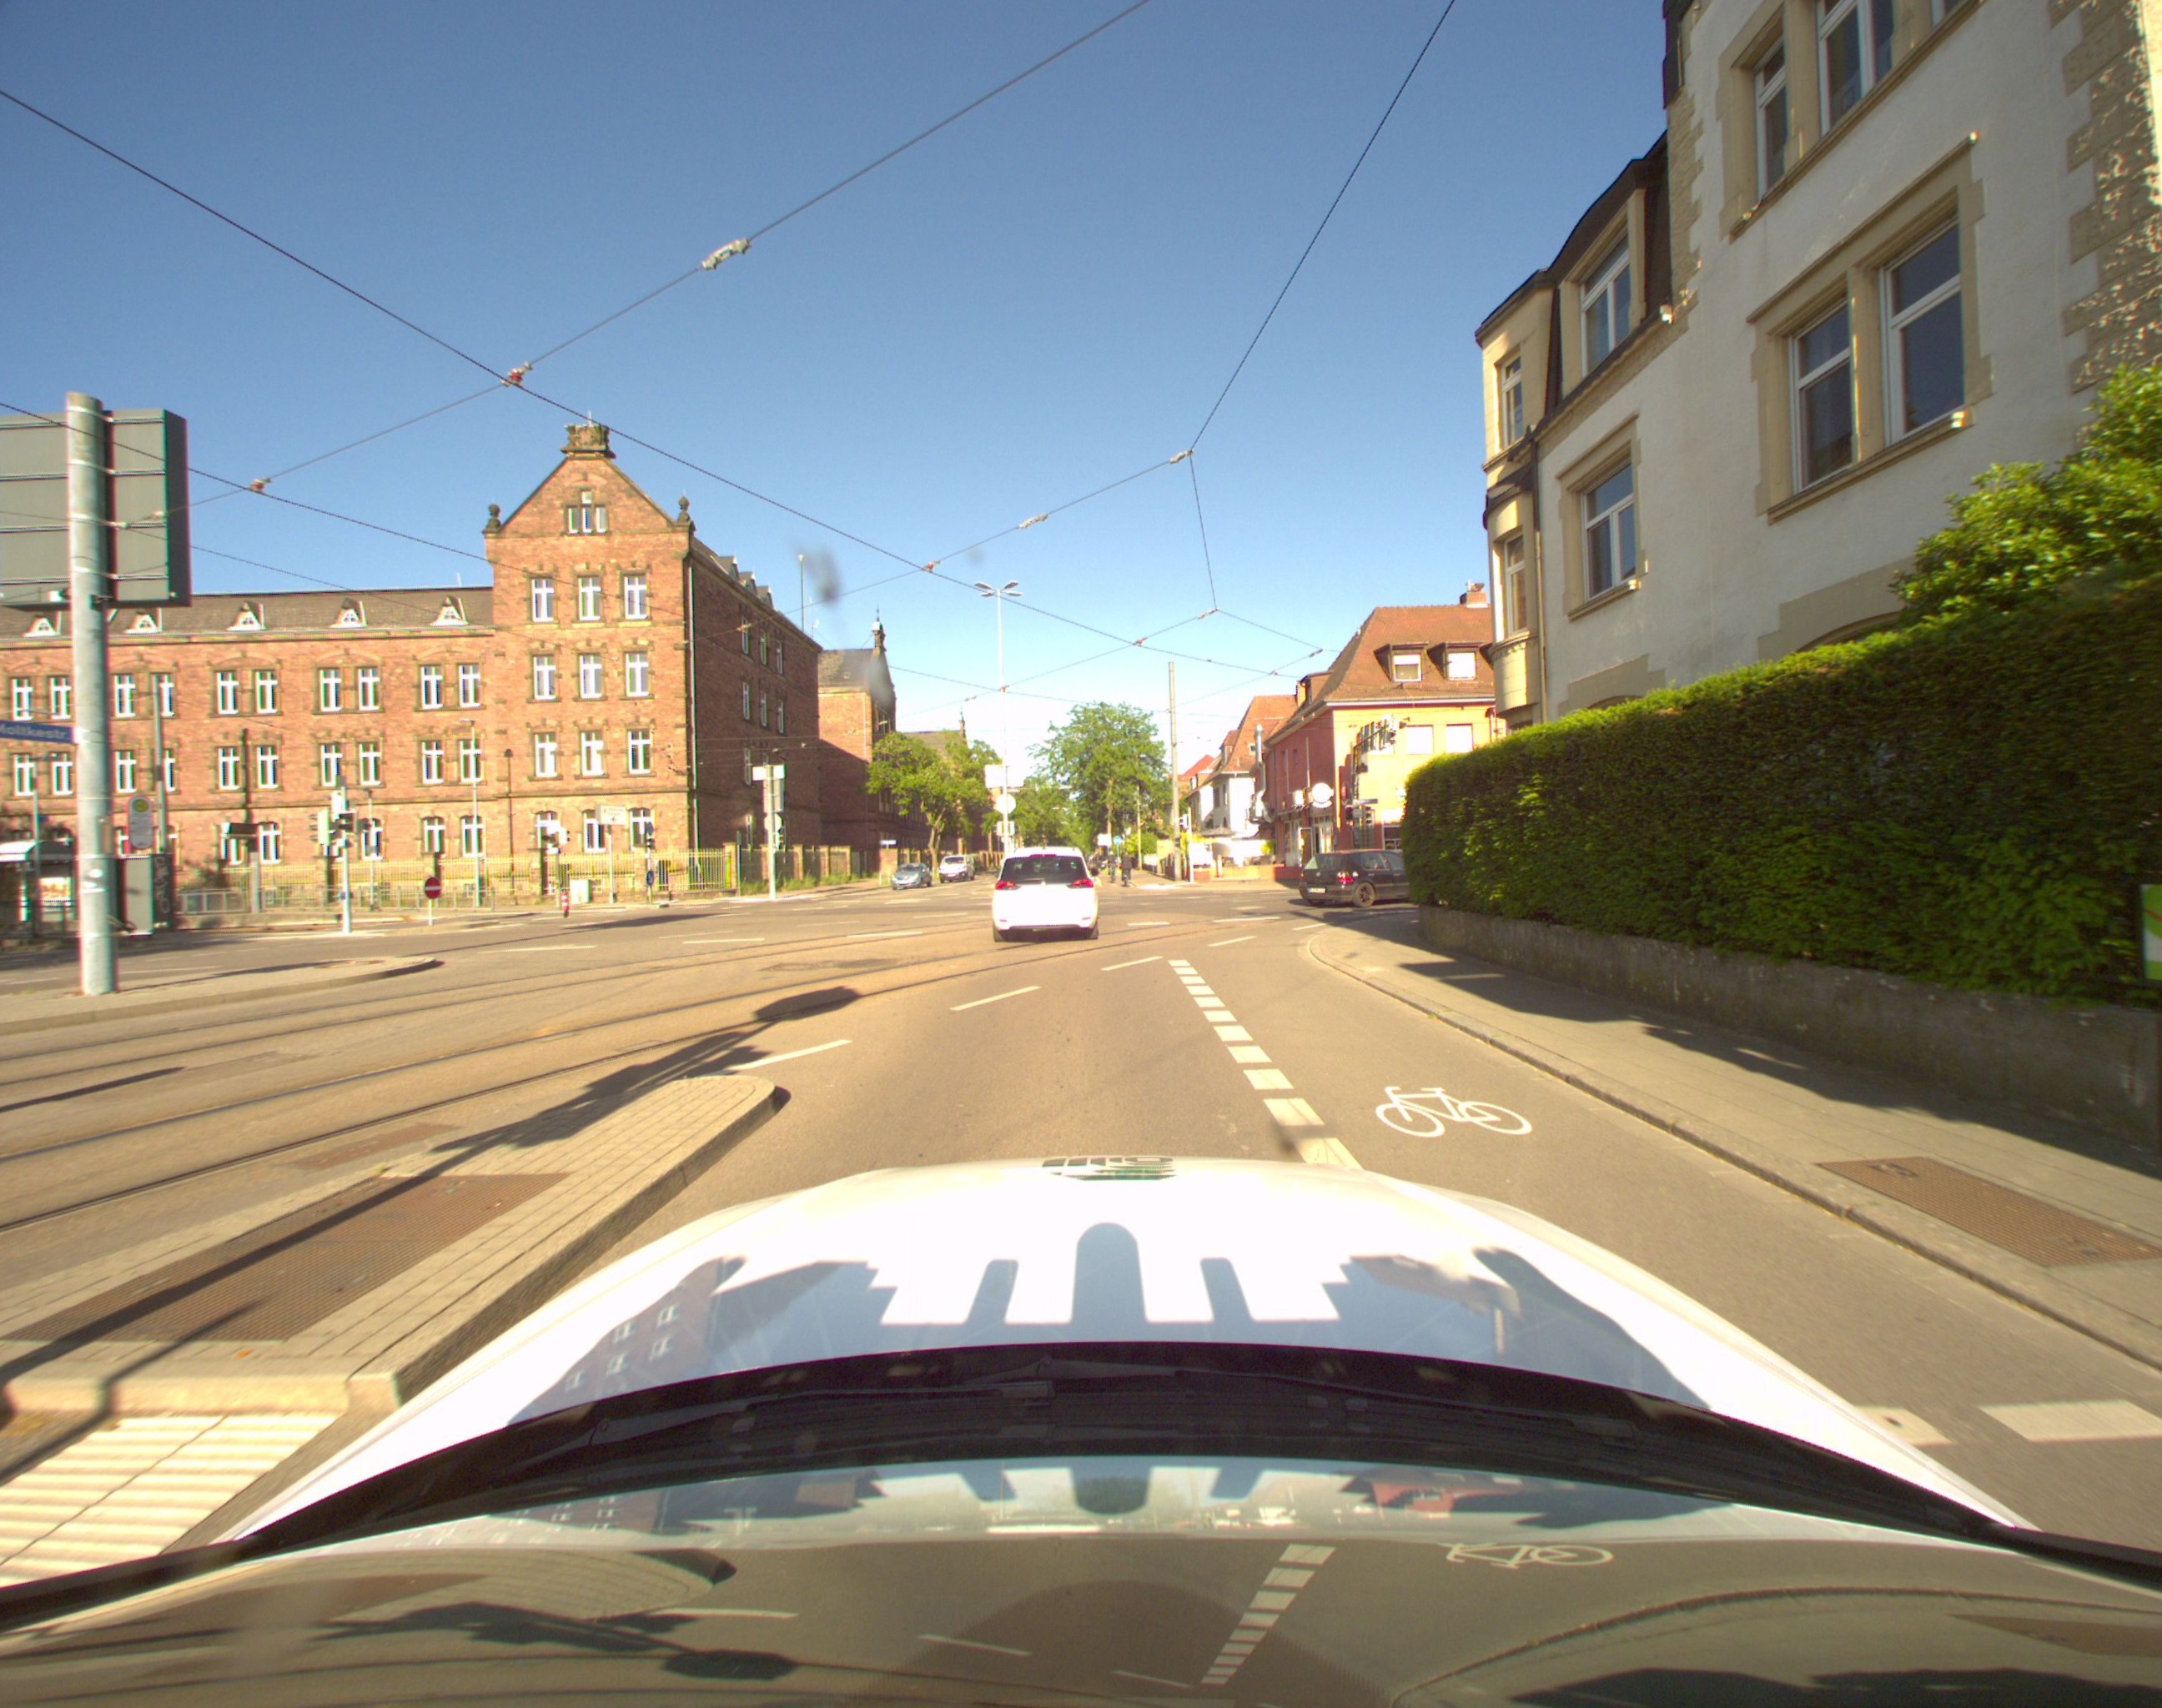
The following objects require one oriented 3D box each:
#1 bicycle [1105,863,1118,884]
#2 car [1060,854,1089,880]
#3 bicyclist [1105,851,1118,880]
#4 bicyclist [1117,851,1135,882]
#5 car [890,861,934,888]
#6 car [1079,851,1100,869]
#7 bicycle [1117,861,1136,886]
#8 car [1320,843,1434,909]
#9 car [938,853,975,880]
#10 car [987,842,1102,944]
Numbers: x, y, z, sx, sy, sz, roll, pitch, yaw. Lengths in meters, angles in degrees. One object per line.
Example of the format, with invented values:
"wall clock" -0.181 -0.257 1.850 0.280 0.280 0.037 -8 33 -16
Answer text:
"bicycle" 1.752 1.111 45.954 0.682 1.157 1.621 0 -1 4
"car" -0.414 0.878 54.941 1.769 1.632 3.881 -1 0 1
"bicyclist" 1.747 0.658 46.015 0.683 1.634 1.016 -1 -1 3
"bicyclist" 2.235 0.607 40.307 0.818 1.501 0.934 -1 -1 0
"car" -9.651 1.128 46.729 1.574 1.441 3.587 -1 0 3
"car" 0.852 0.576 80.112 1.768 1.632 3.884 -1 0 4
"bicycle" 2.244 0.957 40.277 0.826 1.154 2.095 -1 -1 1
"car" 7.269 0.494 20.386 1.580 1.420 3.903 -2 0 3
"car" -8.730 0.871 57.386 1.886 1.783 3.880 -1 0 0
"car" -0.555 0.654 15.320 1.828 1.642 3.920 -1 0 2
